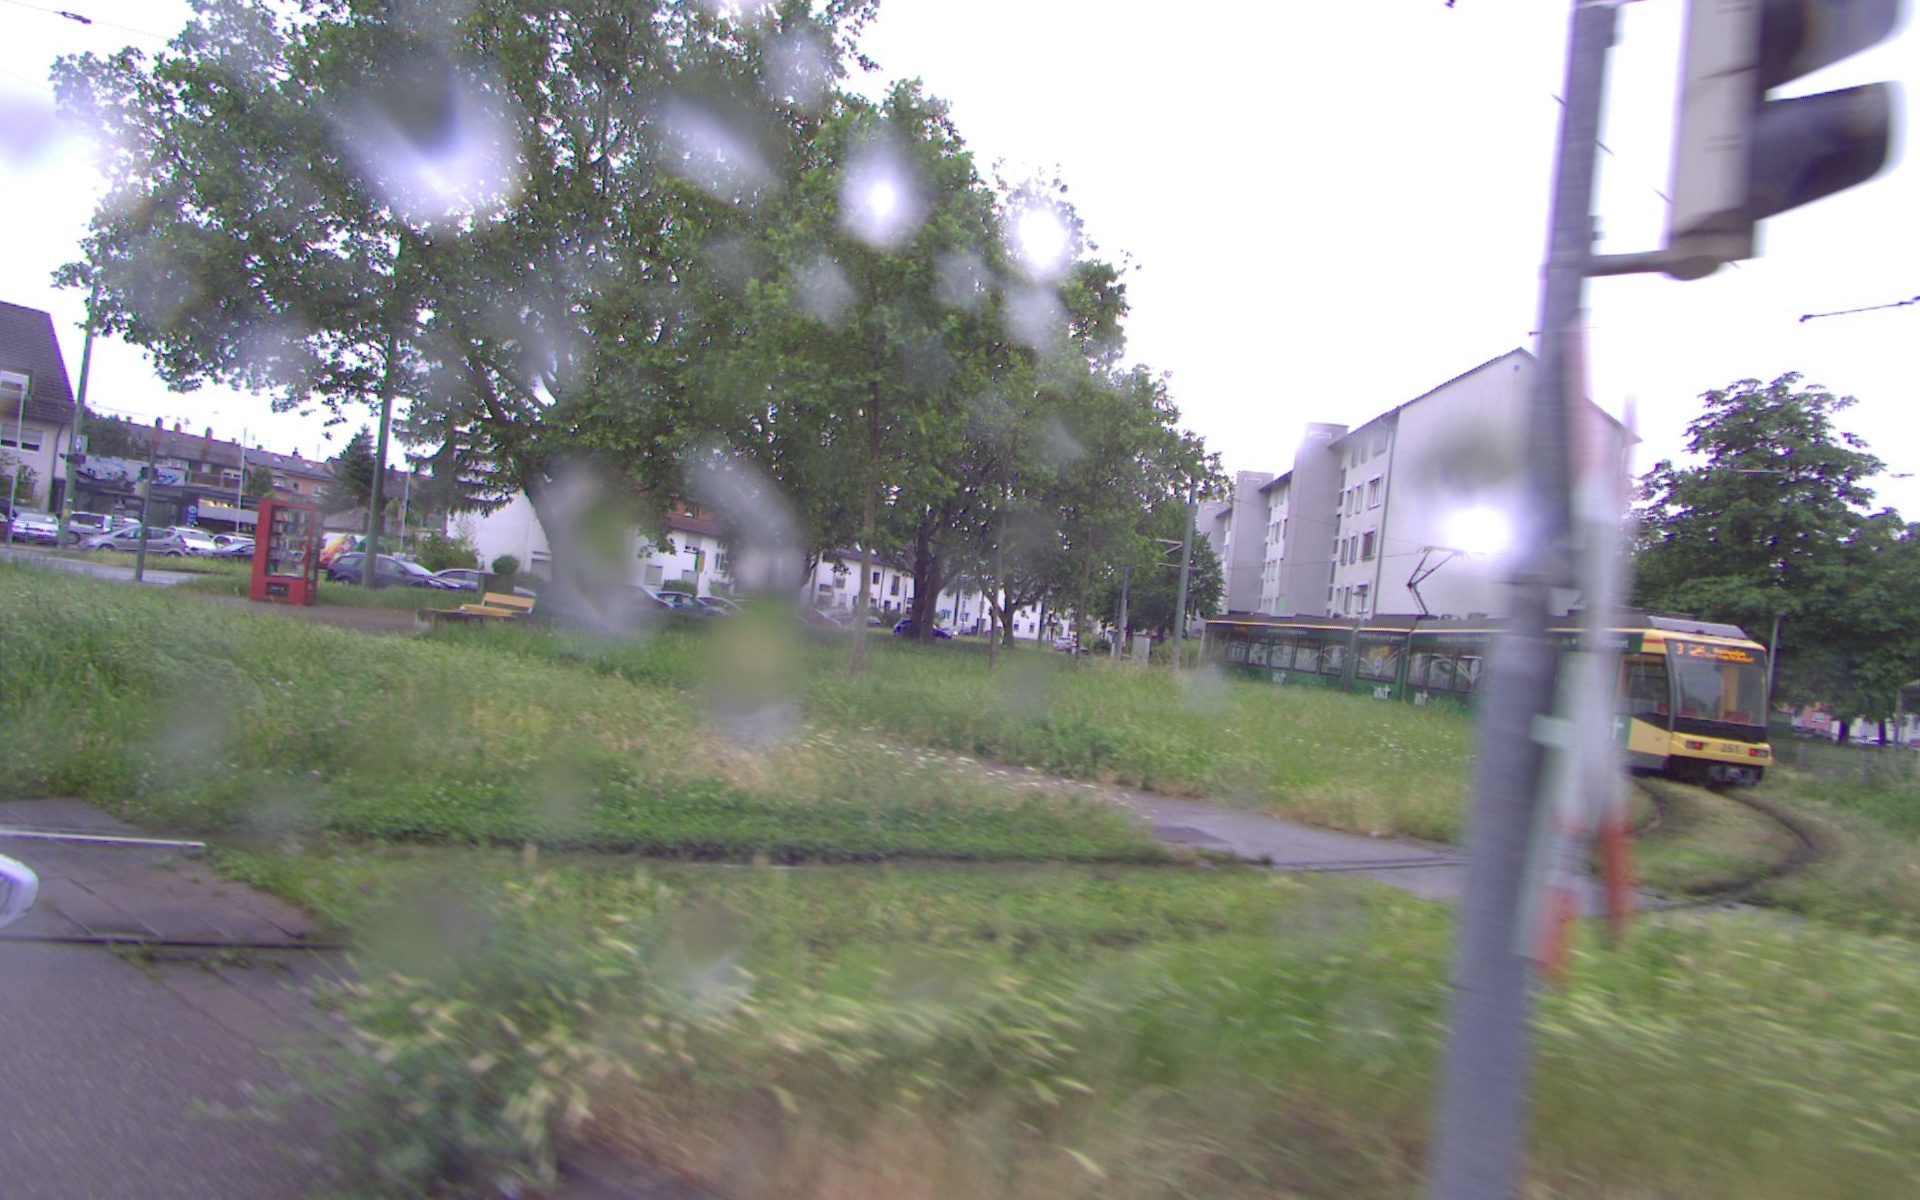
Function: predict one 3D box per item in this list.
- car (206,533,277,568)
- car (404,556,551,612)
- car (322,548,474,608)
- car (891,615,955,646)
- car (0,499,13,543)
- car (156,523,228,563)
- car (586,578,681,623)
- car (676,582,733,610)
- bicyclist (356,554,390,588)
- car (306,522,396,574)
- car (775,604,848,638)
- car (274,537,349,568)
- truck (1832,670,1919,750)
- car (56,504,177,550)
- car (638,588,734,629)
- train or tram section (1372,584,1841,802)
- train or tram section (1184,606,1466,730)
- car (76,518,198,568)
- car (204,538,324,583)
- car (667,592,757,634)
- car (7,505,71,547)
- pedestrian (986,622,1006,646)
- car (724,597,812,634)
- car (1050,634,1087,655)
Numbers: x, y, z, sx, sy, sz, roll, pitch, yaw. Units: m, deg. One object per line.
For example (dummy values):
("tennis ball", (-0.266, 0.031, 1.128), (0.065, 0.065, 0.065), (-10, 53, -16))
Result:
("car", (-38.039, -2.630, 53.246), (3.780, 1.411, 1.721), (6, -3, 33))
("car", (-17.767, -0.563, 37.160), (4.463, 1.494, 1.805), (7, -1, 4))
("car", (-19.284, -0.725, 34.627), (4.099, 1.494, 1.804), (7, -1, 0))
("car", (-2.347, 1.934, 64.388), (3.926, 1.502, 1.999), (6, 0, -1))
("car", (-47.279, -3.981, 46.663), (1.967, 2.037, 4.438), (5, -2, 32))
("car", (-39.373, -2.919, 51.571), (3.559, 1.590, 1.721), (6, -3, 34))
("car", (-13.894, 0.040, 42.973), (3.453, 1.523, 1.755), (5, -2, -6))
("car", (-18.607, -0.257, 73.468), (1.579, 1.439, 3.942), (6, -3, 30))
("bicyclist", (-30.024, -1.487, 51.473), (0.933, 1.618, 1.041), (6, 0, 28))
("car", (-36.283, -3.113, 59.879), (5.061, 2.432, 2.151), (6, -3, 30))
("car", (-7.949, 1.133, 54.111), (3.530, 1.498, 1.639), (5, -1, 4))
("car", (-44.760, -3.232, 69.598), (1.759, 1.599, 4.451), (6, -2, 8))
("truck", (48.950, 5.946, 53.763), (3.158, 3.511, 7.124), (5, -4, 41))
("car", (-43.692, -3.764, 52.217), (1.732, 1.707, 4.438), (5, -2, 32))
("car", (-12.444, 0.413, 45.918), (3.928, 1.518, 1.824), (4, -2, -7))
("train or tram section", (14.796, 1.982, 25.712), (2.664, 3.630, 14.750), (8, -2, 3))
("train or tram section", (13.508, 2.284, 39.906), (2.672, 3.631, 14.708), (8, -2, -12))
("car", (-35.989, -2.466, 44.087), (1.694, 1.521, 3.642), (6, -3, 30))
("car", (-33.678, -1.885, 48.796), (1.693, 1.352, 4.392), (6, -5, 27))
("car", (-11.819, 0.632, 48.200), (3.931, 1.571, 1.960), (6, -3, -9))
("car", (-42.257, -3.398, 46.134), (4.007, 1.521, 1.825), (5, -4, 45))
("pedestrian", (2.804, 2.652, 78.738), (1.029, 1.734, 1.079), (5, -1, 26))
("car", (-9.732, 0.796, 51.229), (4.046, 1.498, 1.867), (5, -1, -2))
("car", (9.961, 4.128, 92.197), (1.928, 1.570, 3.997), (4, -3, 29))
